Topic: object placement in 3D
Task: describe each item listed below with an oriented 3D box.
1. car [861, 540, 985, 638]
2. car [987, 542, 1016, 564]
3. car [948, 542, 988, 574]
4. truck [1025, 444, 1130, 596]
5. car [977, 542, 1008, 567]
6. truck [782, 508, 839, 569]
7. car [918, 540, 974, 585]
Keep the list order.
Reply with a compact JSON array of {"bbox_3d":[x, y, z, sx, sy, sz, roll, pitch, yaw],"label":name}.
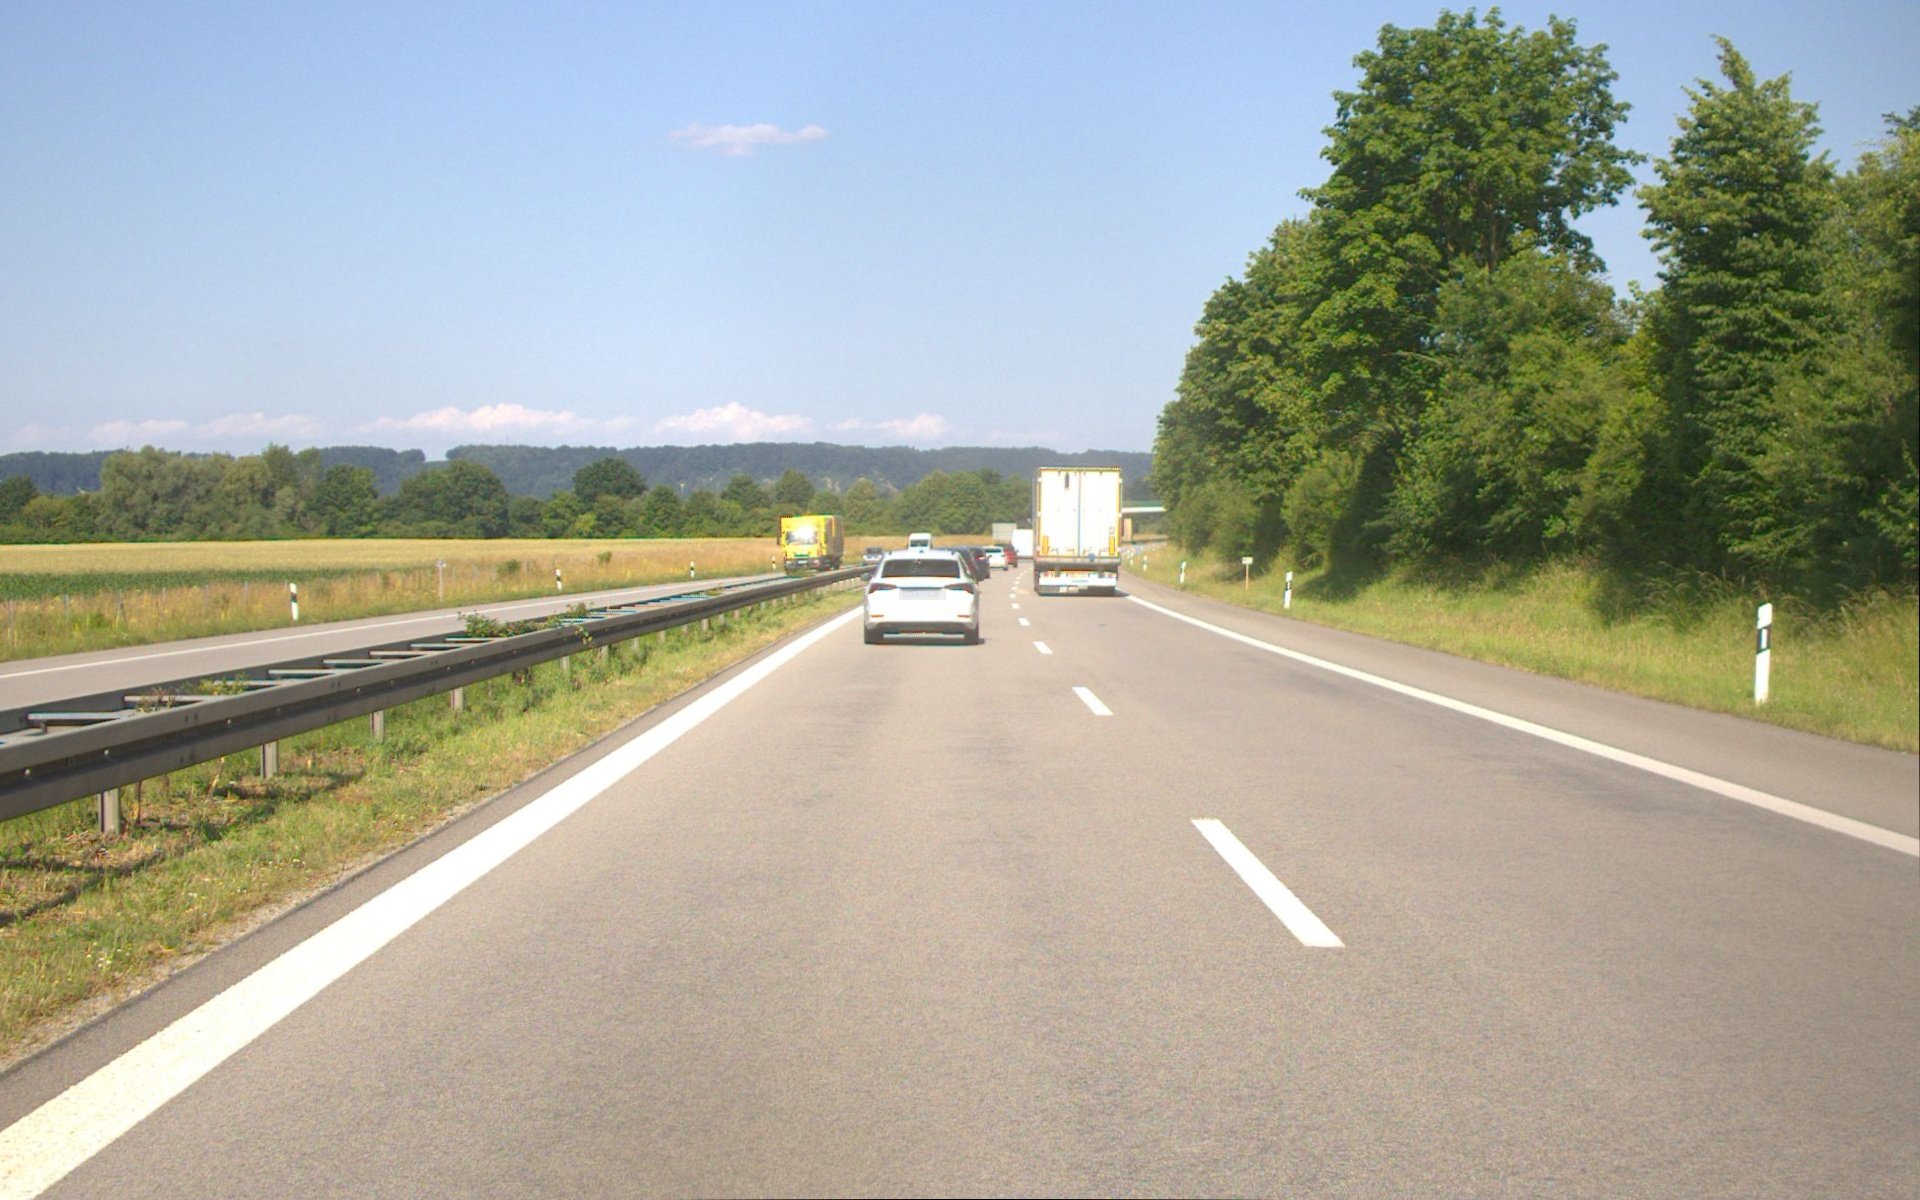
[{"bbox_3d":[-0.588,-0.207,54.273,1.840,1.416,5.255,1,1,-1],"label":"car"},{"bbox_3d":[2.650,-3.019,220.113,1.771,1.416,4.365,1,1,1],"label":"car"},{"bbox_3d":[0.369,-1.909,156.628,1.771,1.416,4.365,1,1,1],"label":"car"},{"bbox_3d":[3.652,-2.522,109.045,3.152,4.596,8.905,-1,1,1],"label":"truck"},{"bbox_3d":[1.905,-2.656,199.399,1.771,1.416,4.365,1,1,1],"label":"car"},{"bbox_3d":[-8.884,-3.667,205.093,2.735,3.371,9.233,-3,1,1],"label":"truck"},{"bbox_3d":[-0.437,-1.221,110.718,1.771,1.416,4.495,1,1,0],"label":"car"}]
